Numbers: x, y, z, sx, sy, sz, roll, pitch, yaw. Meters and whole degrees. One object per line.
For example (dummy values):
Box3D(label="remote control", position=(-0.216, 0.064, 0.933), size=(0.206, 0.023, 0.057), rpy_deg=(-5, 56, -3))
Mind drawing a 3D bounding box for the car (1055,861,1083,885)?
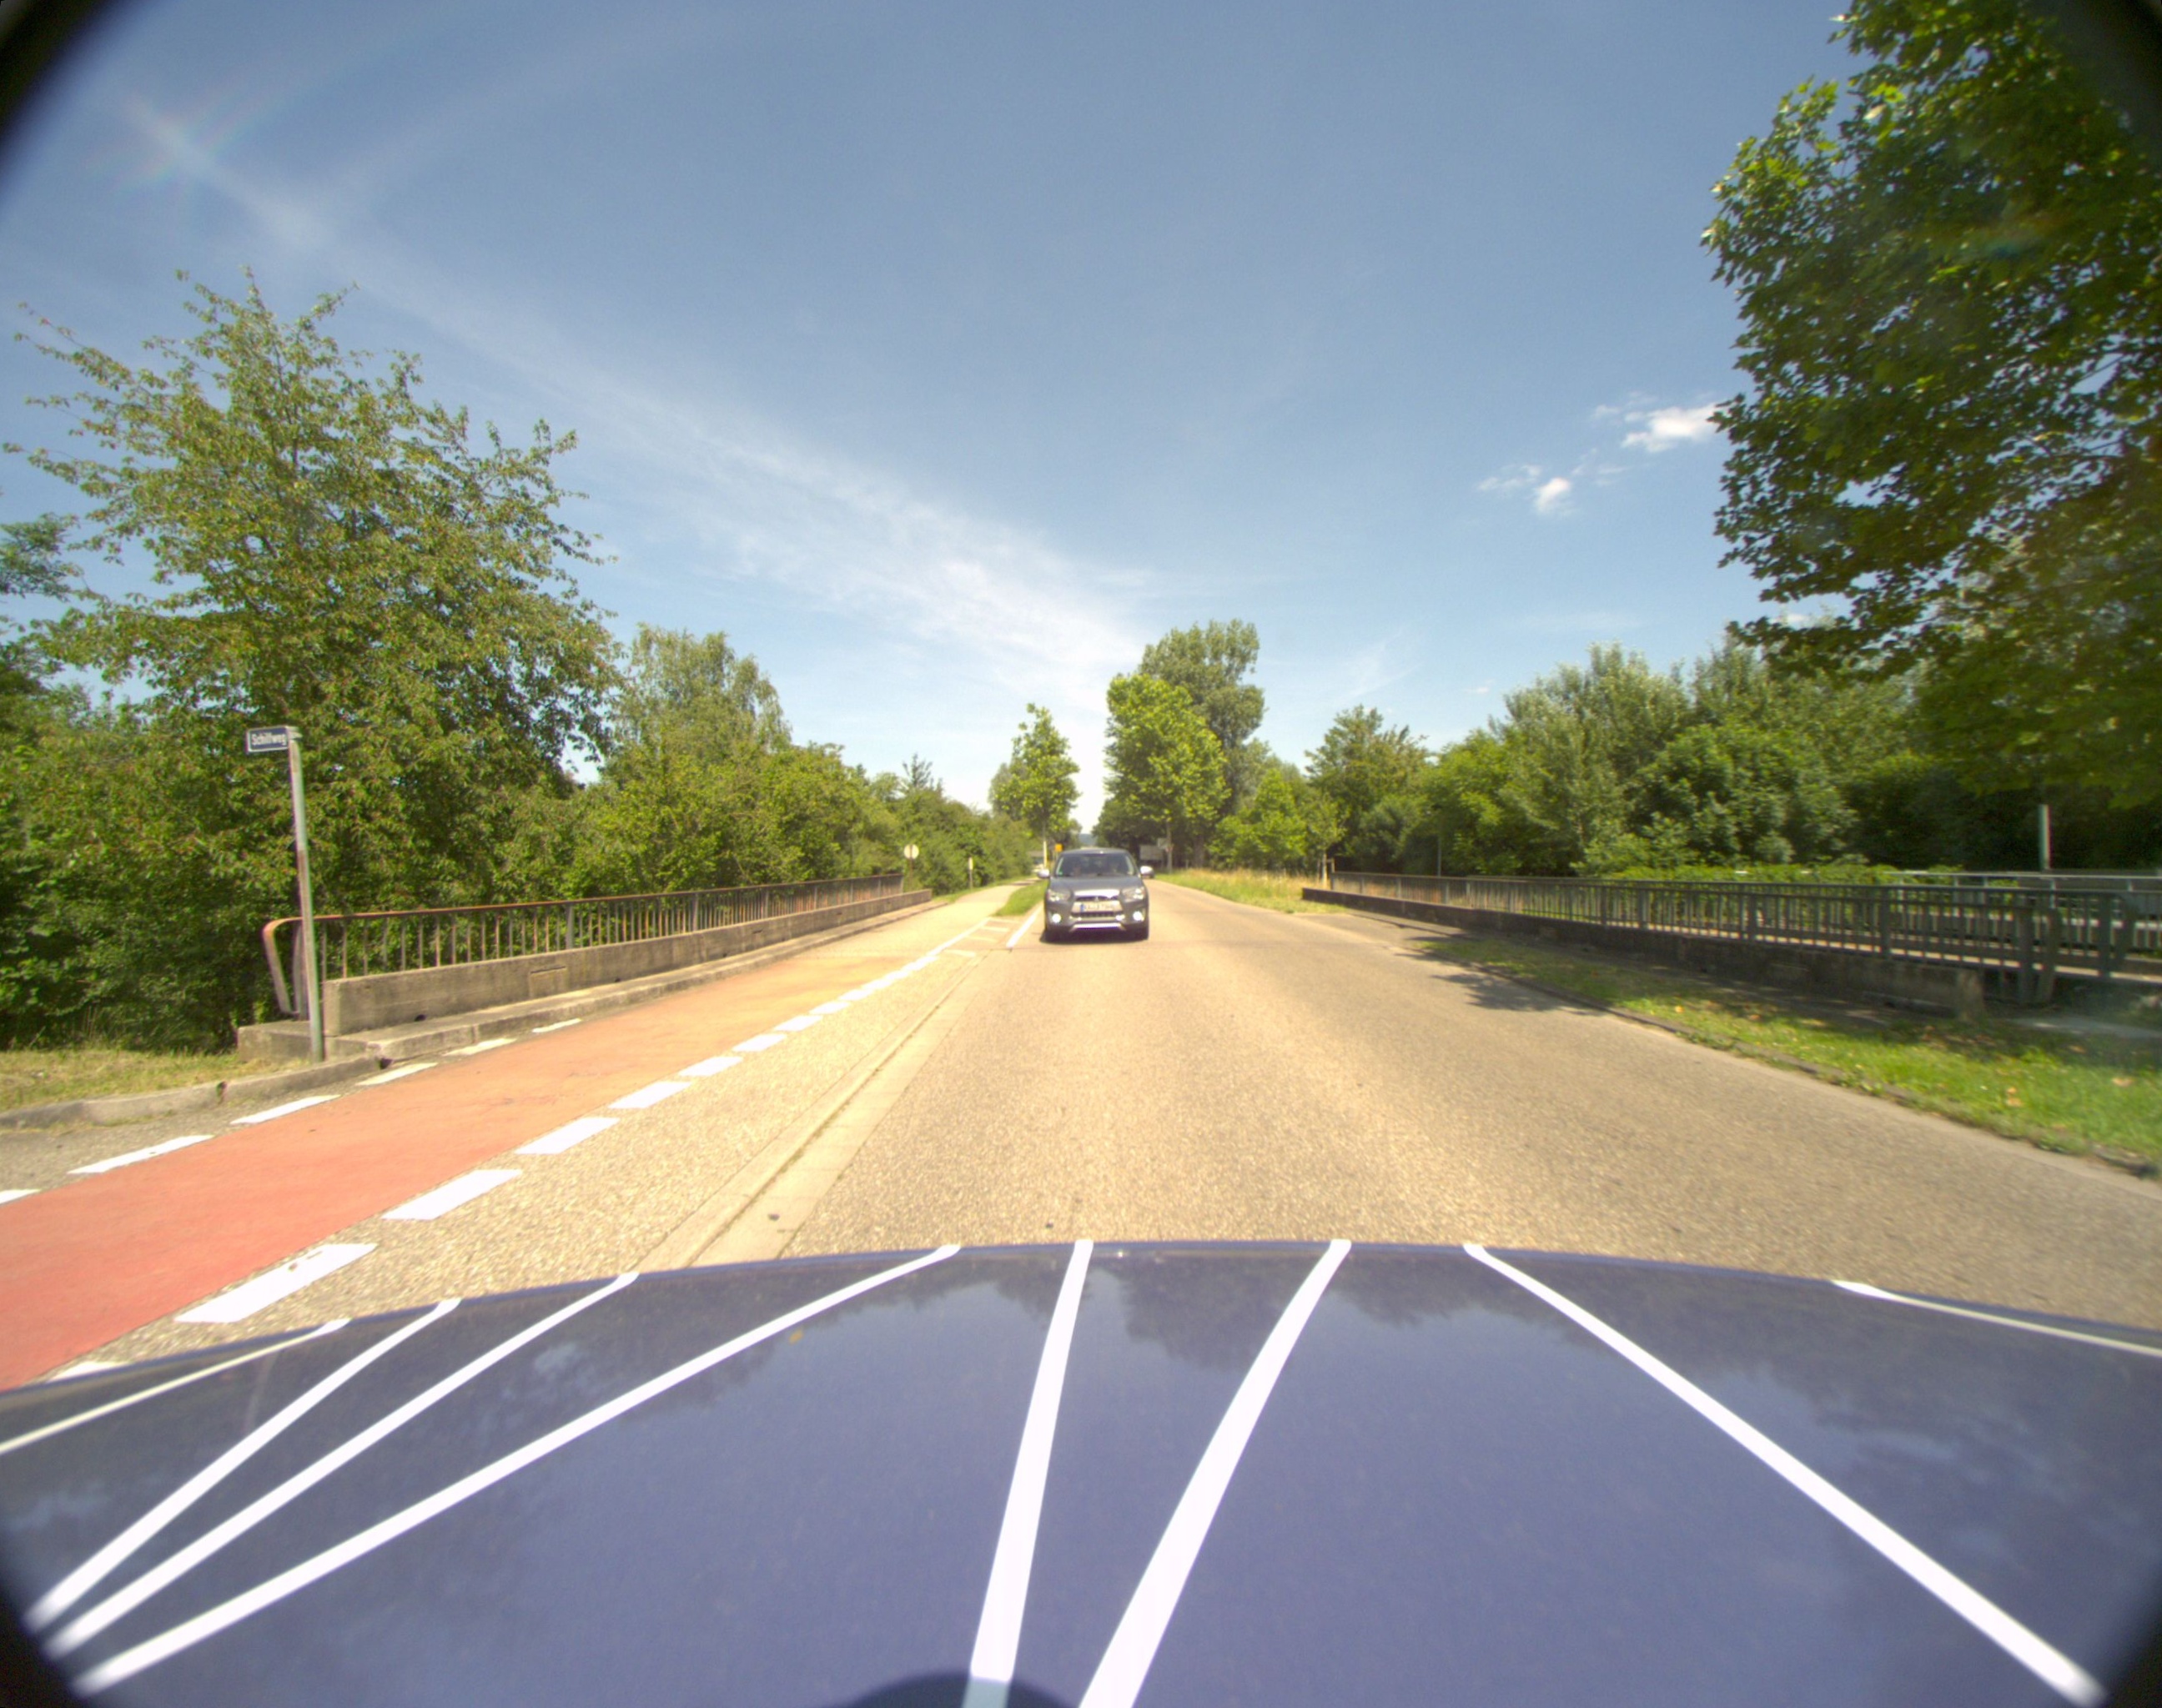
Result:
Box3D(label="car", position=(-0.768, 1.150, 47.773), size=(1.676, 1.342, 3.830), rpy_deg=(-2, 0, -1))

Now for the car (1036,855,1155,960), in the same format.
Box3D(label="car", position=(0.227, 0.802, 13.562), size=(1.750, 1.525, 4.524), rpy_deg=(-1, 0, 0))
